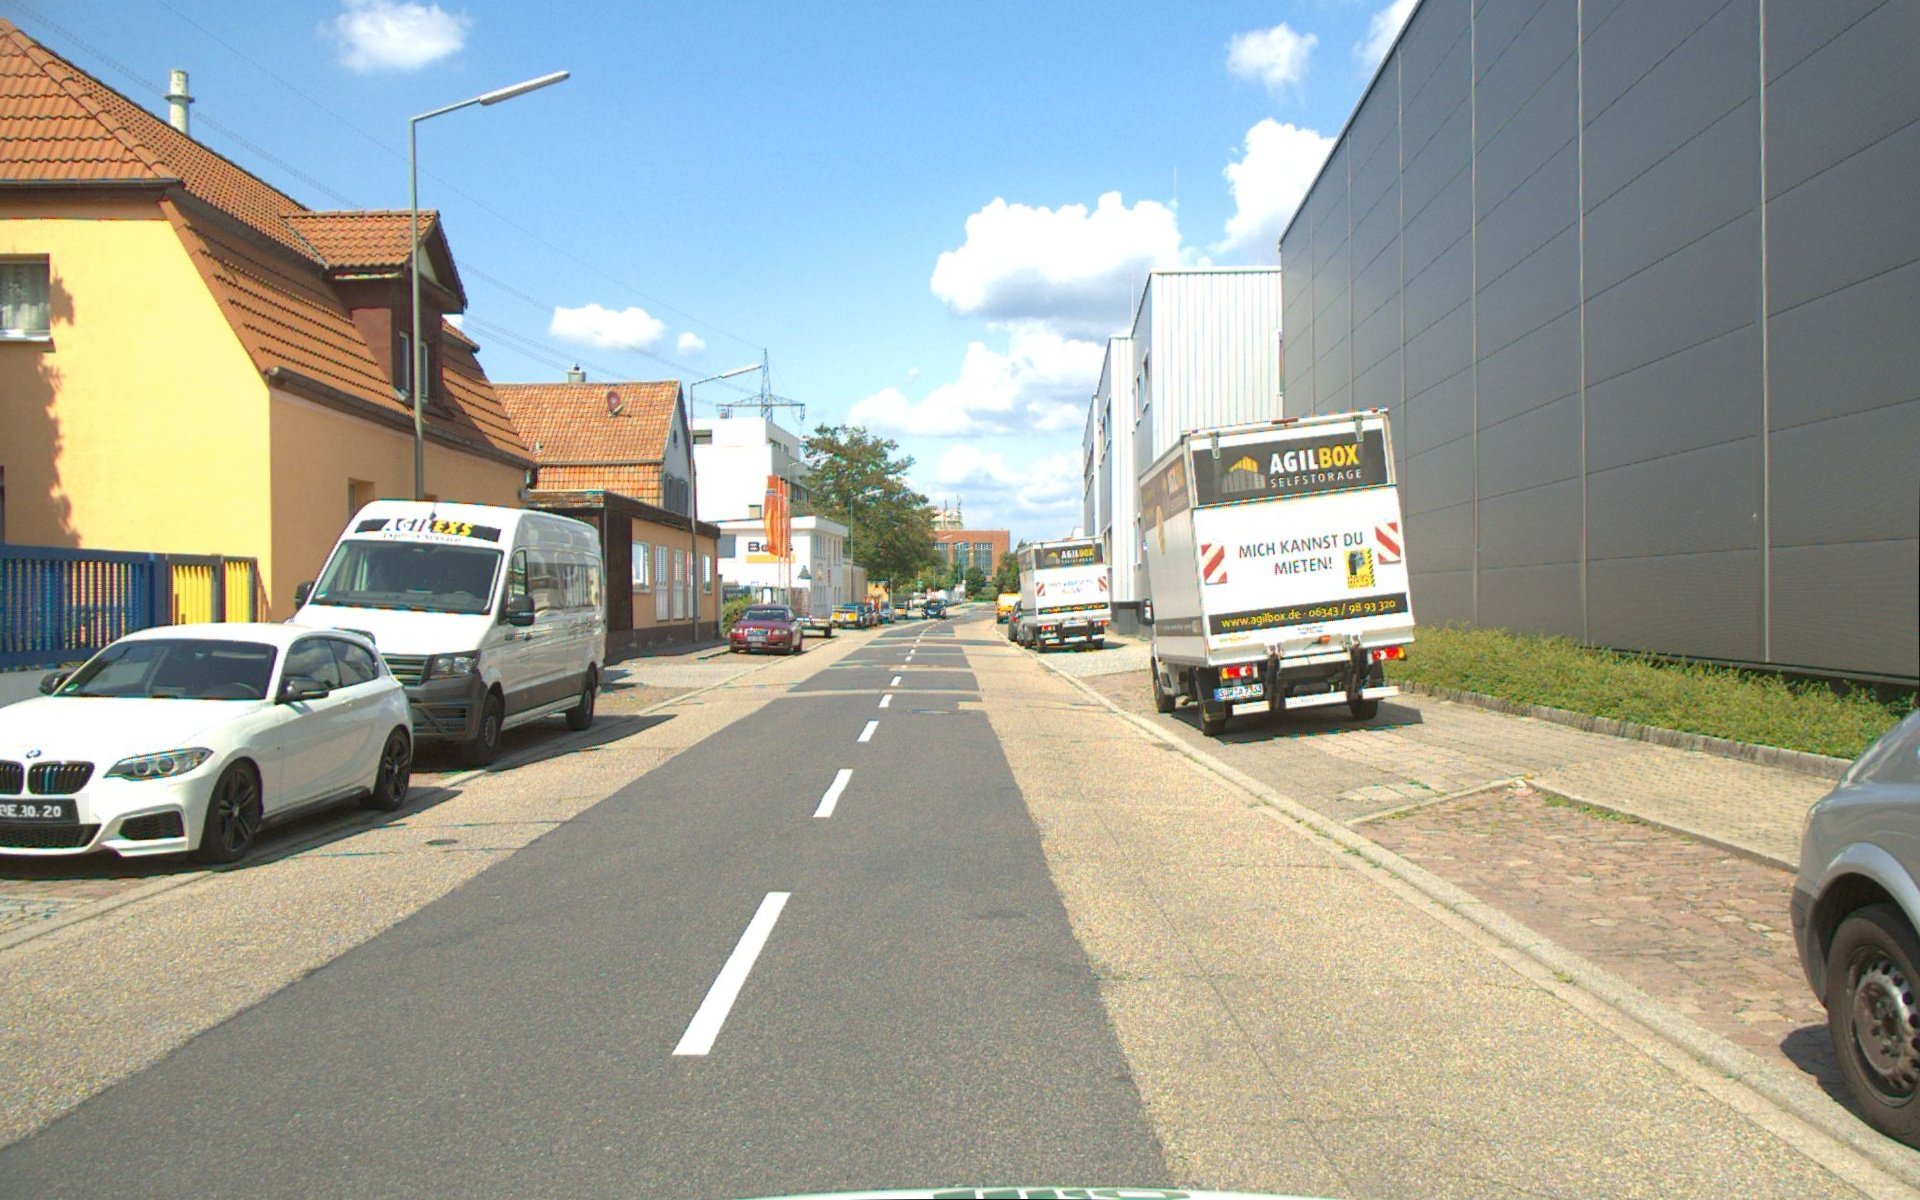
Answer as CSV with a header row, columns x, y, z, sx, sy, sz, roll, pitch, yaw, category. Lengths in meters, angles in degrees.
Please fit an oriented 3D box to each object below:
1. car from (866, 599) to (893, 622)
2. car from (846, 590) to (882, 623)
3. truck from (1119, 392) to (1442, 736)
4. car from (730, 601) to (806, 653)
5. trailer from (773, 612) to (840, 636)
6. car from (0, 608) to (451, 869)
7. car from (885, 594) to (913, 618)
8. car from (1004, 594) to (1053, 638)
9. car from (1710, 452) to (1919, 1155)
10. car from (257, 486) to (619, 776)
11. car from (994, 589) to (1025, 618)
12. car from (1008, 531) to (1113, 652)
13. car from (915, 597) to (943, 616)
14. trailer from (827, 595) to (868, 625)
x,y,z,sx,sy,sz,roll,pitch,yaw,category
-5.427,0.686,111.223,1.634,1.473,3.453,1,0,0,car
-6.124,0.410,105.705,1.952,2.049,4.001,1,0,2,car
3.662,-0.379,20.592,2.409,3.349,6.817,-5,0,0,truck
-5.789,0.790,50.323,1.726,1.473,4.740,1,0,0,car
-6.350,0.974,69.022,2.314,0.908,5.568,1,0,-1,trailer
-5.149,0.785,11.498,1.759,1.422,4.502,1,0,1,car
-4.728,0.444,129.061,1.882,1.825,4.001,1,0,2,car
2.632,0.615,64.154,1.732,1.640,3.873,-1,0,1,car
3.585,0.506,3.025,2.012,1.936,5.147,-4,0,1,car
-5.442,0.295,18.431,1.986,2.606,6.837,1,0,-2,car
3.184,0.206,106.316,1.899,1.772,4.377,-1,0,2,car
3.037,-0.250,51.713,2.341,3.421,6.640,-3,0,-3,car
-2.265,0.468,123.068,1.878,1.307,3.615,-1,0,1,car
-6.104,0.525,90.279,1.953,1.584,4.253,0,0,-1,trailer
